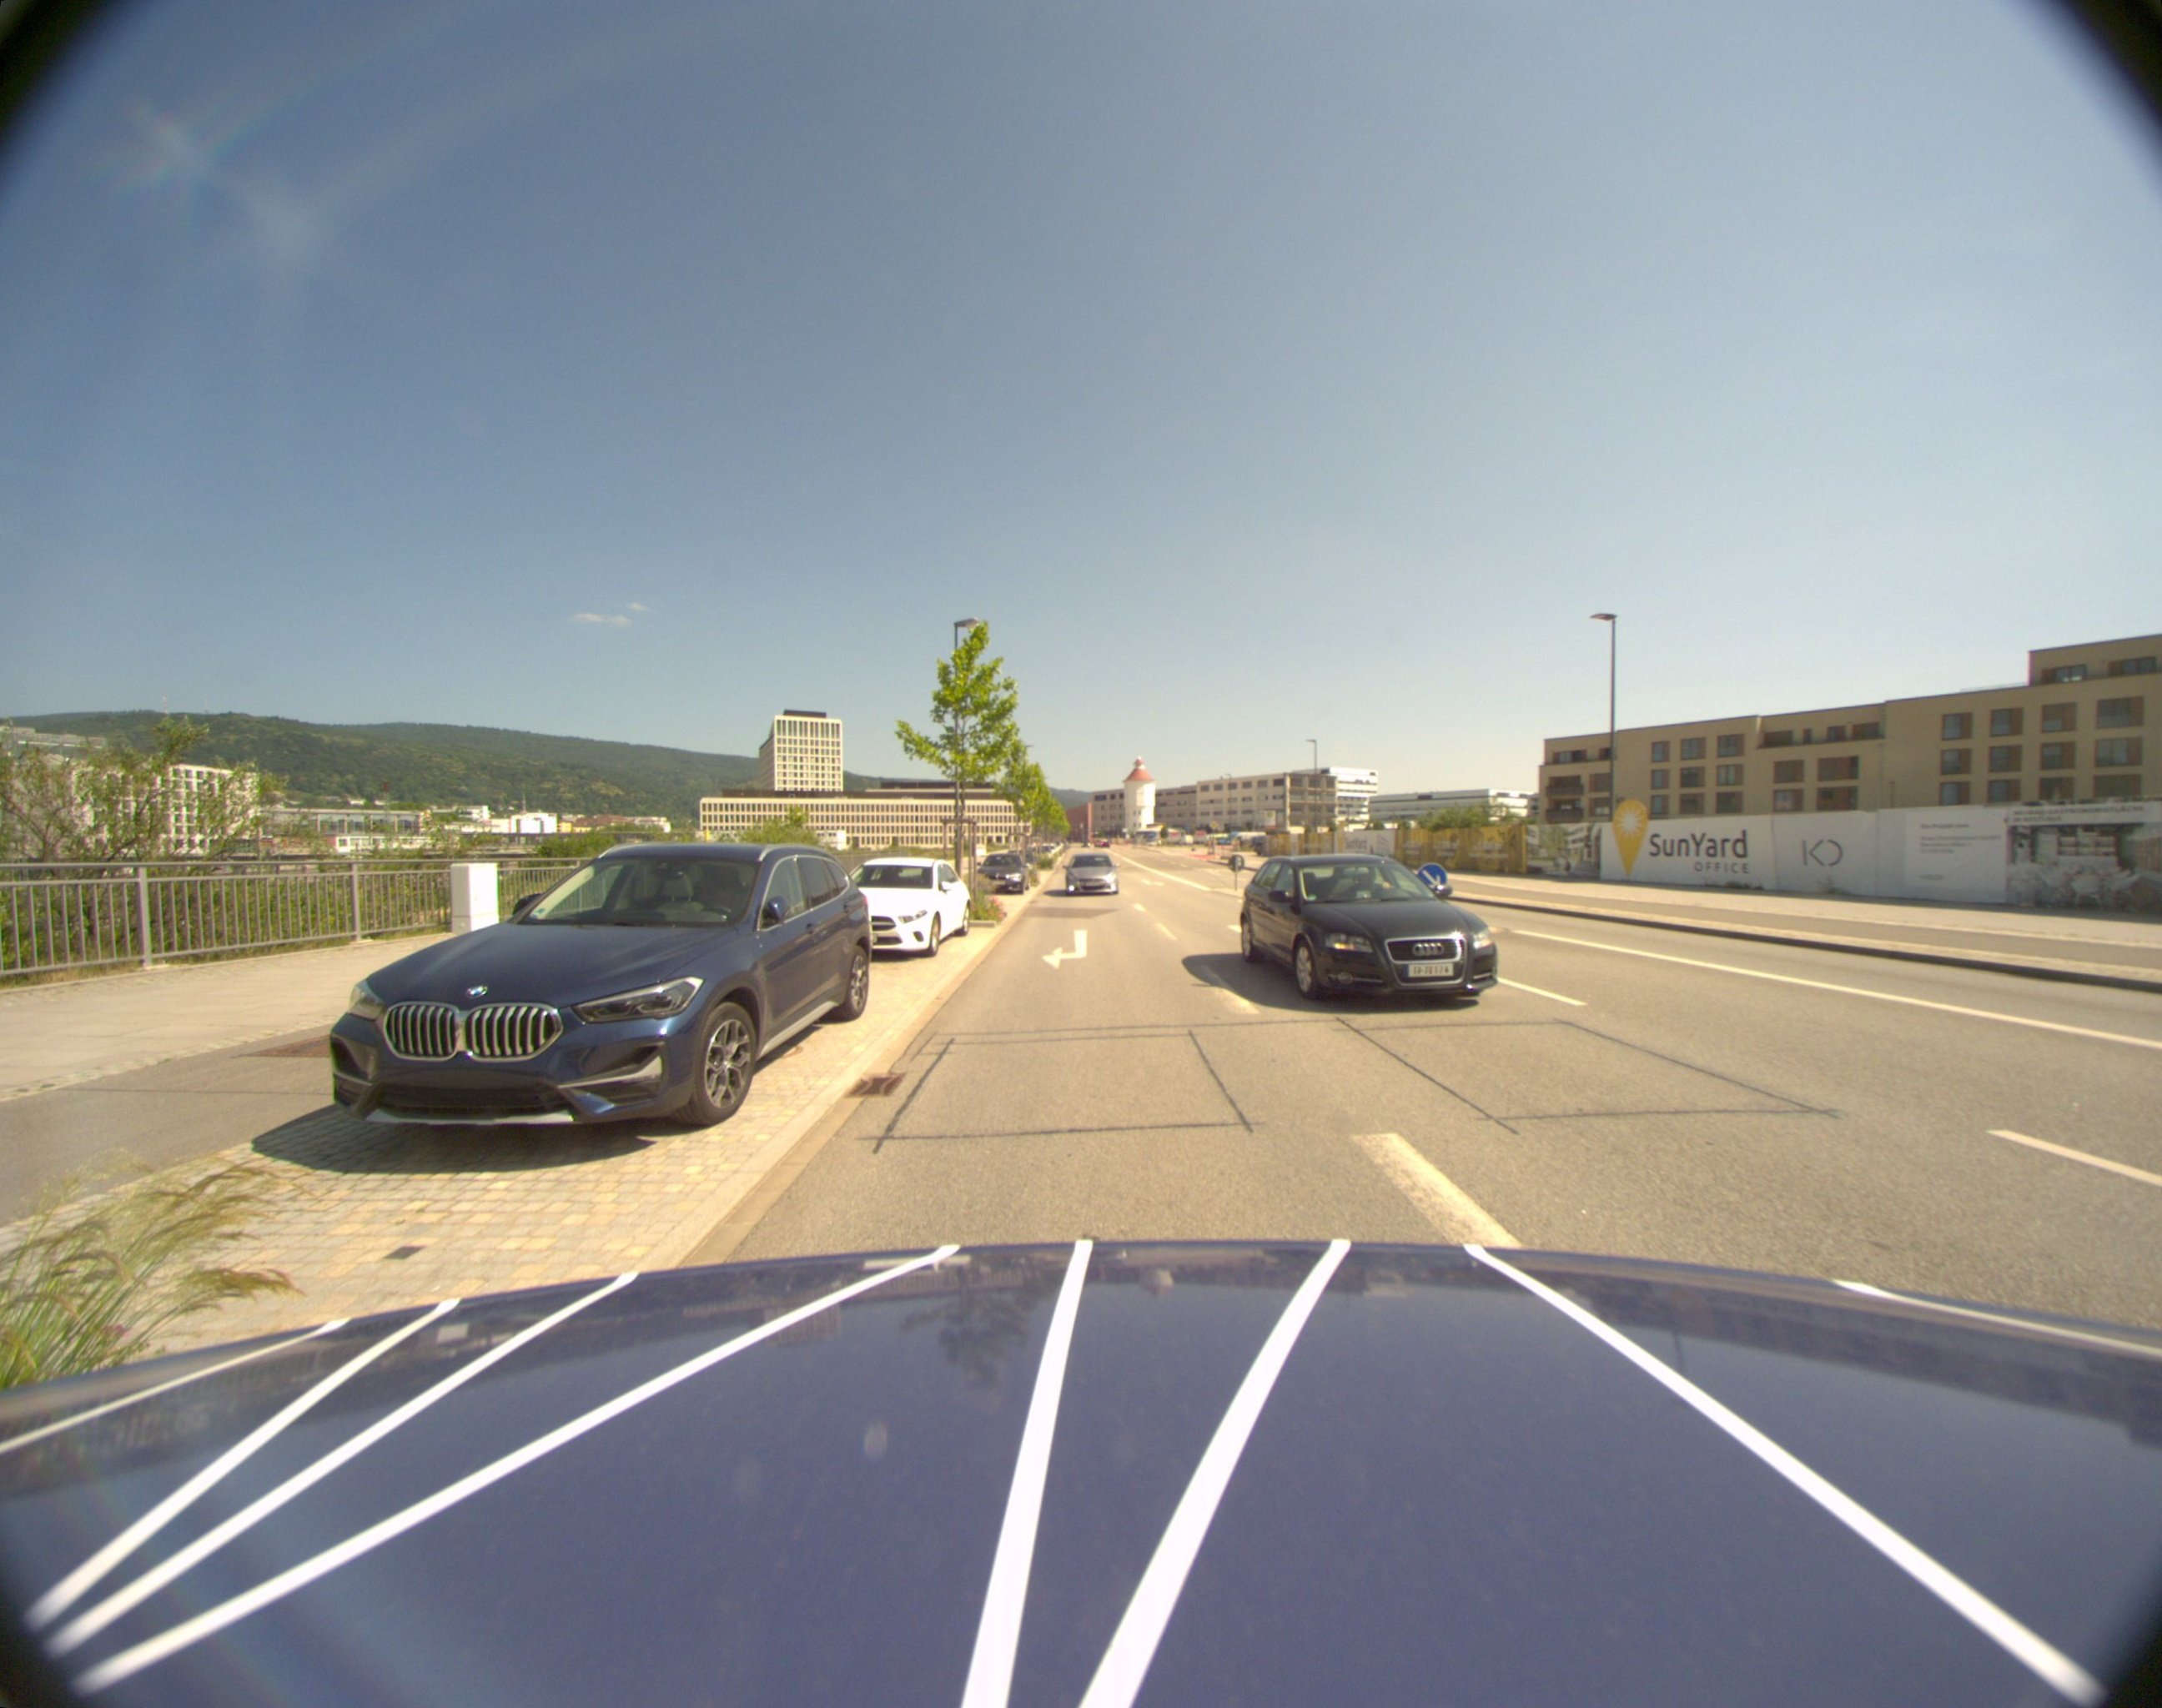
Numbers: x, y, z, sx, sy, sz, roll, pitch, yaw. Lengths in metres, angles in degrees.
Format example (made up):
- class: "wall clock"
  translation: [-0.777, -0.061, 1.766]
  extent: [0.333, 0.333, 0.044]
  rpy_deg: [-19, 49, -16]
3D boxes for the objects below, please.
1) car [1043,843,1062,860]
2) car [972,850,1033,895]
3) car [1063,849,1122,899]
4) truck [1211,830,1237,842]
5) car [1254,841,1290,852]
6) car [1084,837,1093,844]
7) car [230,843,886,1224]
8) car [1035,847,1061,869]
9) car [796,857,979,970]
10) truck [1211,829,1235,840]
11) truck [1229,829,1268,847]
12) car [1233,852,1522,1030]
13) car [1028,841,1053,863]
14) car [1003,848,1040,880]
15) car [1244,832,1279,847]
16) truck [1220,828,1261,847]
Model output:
- class: "car"
  translation: [-2.655, -0.280, 70.597]
  extent: [1.526, 1.482, 3.504]
  rpy_deg: [-3, 1, 0]
- class: "car"
  translation: [-2.794, 0.636, 27.815]
  extent: [1.808, 1.424, 3.915]
  rpy_deg: [2, 1, 0]
- class: "car"
  translation: [0.392, 0.635, 26.486]
  extent: [1.820, 1.459, 4.346]
  rpy_deg: [-2, 1, 1]
- class: "truck"
  translation: [33.362, -4.167, 177.328]
  extent: [5.333, 2.461, 1.999]
  rpy_deg: [-3, 1, -4]
- class: "car"
  translation: [19.587, -0.746, 78.025]
  extent: [3.359, 0.947, 1.293]
  rpy_deg: [-2, 1, 3]
- class: "car"
  translation: [1.811, -3.195, 182.619]
  extent: [1.819, 1.458, 4.347]
  rpy_deg: [-3, 1, 2]
- class: "car"
  translation: [-2.884, 0.781, 5.538]
  extent: [1.808, 1.674, 4.270]
  rpy_deg: [1, 1, 0]
- class: "car"
  translation: [-2.166, 0.232, 50.548]
  extent: [1.490, 1.302, 3.154]
  rpy_deg: [2, 1, 0]
- class: "car"
  translation: [-2.905, 0.813, 12.405]
  extent: [1.710, 1.366, 4.270]
  rpy_deg: [2, 1, 2]
- class: "truck"
  translation: [34.575, -4.657, 185.366]
  extent: [5.412, 2.461, 1.999]
  rpy_deg: [-2, 1, -2]
- class: "truck"
  translation: [23.330, -2.248, 105.935]
  extent: [5.005, 2.215, 1.999]
  rpy_deg: [-2, 1, -1]
- class: "car"
  translation: [2.972, 0.754, 8.584]
  extent: [1.709, 1.404, 3.999]
  rpy_deg: [-2, 1, 1]
- class: "car"
  translation: [-3.224, -0.162, 61.083]
  extent: [1.768, 1.609, 3.373]
  rpy_deg: [-3, 1, 0]
- class: "car"
  translation: [-2.923, 0.470, 37.724]
  extent: [1.569, 1.465, 3.006]
  rpy_deg: [2, 1, 0]
- class: "car"
  translation: [22.899, -1.863, 96.572]
  extent: [3.930, 1.708, 1.891]
  rpy_deg: [-3, 1, -5]
- class: "truck"
  translation: [23.743, -2.454, 113.352]
  extent: [5.633, 2.461, 1.999]
  rpy_deg: [-3, 1, -4]
